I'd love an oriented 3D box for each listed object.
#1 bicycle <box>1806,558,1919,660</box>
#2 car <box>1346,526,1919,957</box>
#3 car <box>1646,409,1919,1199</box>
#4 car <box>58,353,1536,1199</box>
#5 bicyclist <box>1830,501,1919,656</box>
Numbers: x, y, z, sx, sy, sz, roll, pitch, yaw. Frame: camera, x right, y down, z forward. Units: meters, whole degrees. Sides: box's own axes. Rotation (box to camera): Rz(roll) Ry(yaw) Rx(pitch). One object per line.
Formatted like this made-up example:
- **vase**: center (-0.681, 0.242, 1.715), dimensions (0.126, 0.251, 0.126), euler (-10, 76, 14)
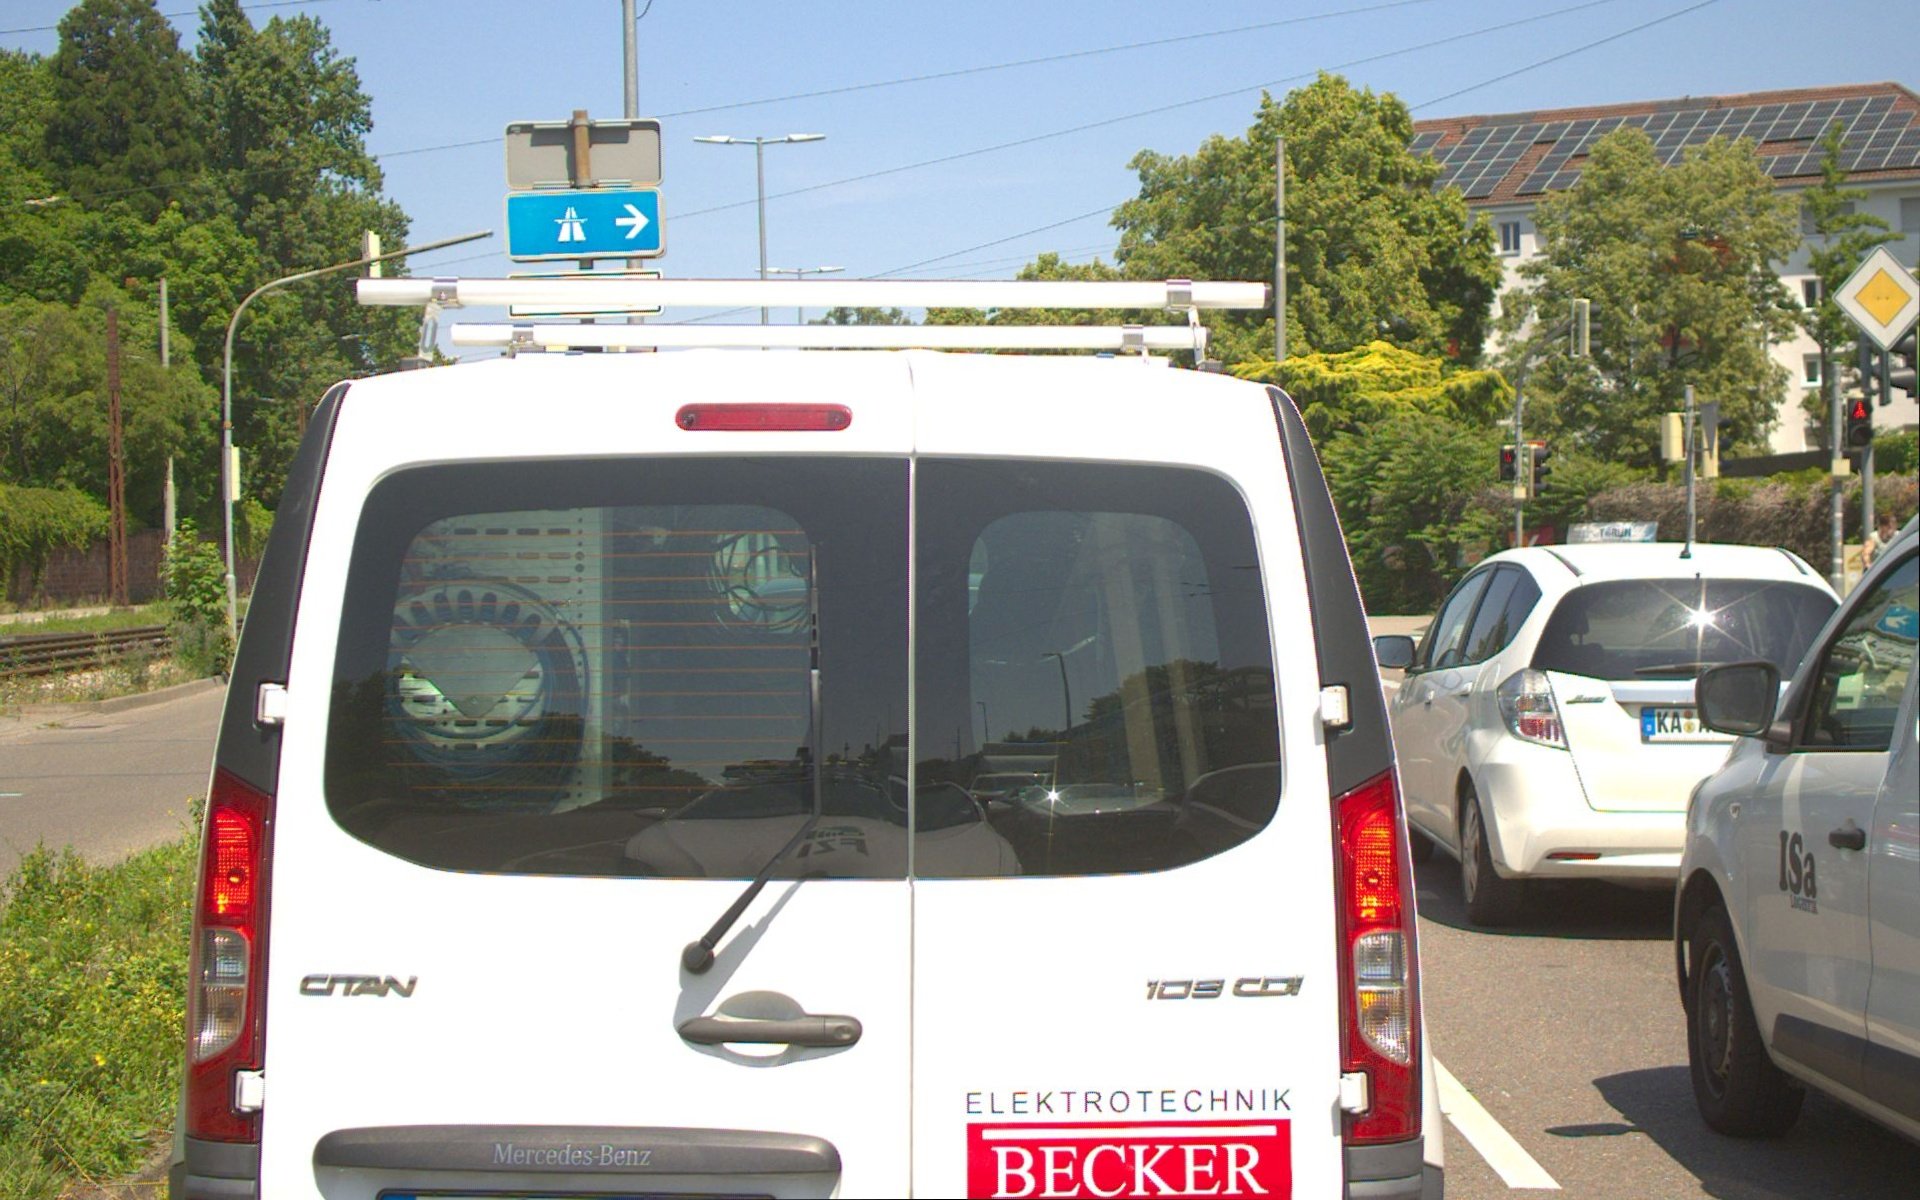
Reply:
- **bicycle**: center (10.693, 0.091, 39.967), dimensions (0.892, 1.155, 1.957), euler (0, 1, -12)
- **car**: center (2.832, 0.487, 14.761), dimensions (1.835, 1.563, 4.000), euler (1, 1, -1)
- **car**: center (2.786, 0.513, 7.280), dimensions (1.727, 1.782, 4.065), euler (1, 1, -2)
- **car**: center (-0.227, 0.529, 6.446), dimensions (1.821, 1.734, 4.396), euler (0, 1, -1)
- **bicyclist**: center (10.730, -0.250, 39.941), dimensions (0.973, 1.782, 0.726), euler (0, 0, -12)
